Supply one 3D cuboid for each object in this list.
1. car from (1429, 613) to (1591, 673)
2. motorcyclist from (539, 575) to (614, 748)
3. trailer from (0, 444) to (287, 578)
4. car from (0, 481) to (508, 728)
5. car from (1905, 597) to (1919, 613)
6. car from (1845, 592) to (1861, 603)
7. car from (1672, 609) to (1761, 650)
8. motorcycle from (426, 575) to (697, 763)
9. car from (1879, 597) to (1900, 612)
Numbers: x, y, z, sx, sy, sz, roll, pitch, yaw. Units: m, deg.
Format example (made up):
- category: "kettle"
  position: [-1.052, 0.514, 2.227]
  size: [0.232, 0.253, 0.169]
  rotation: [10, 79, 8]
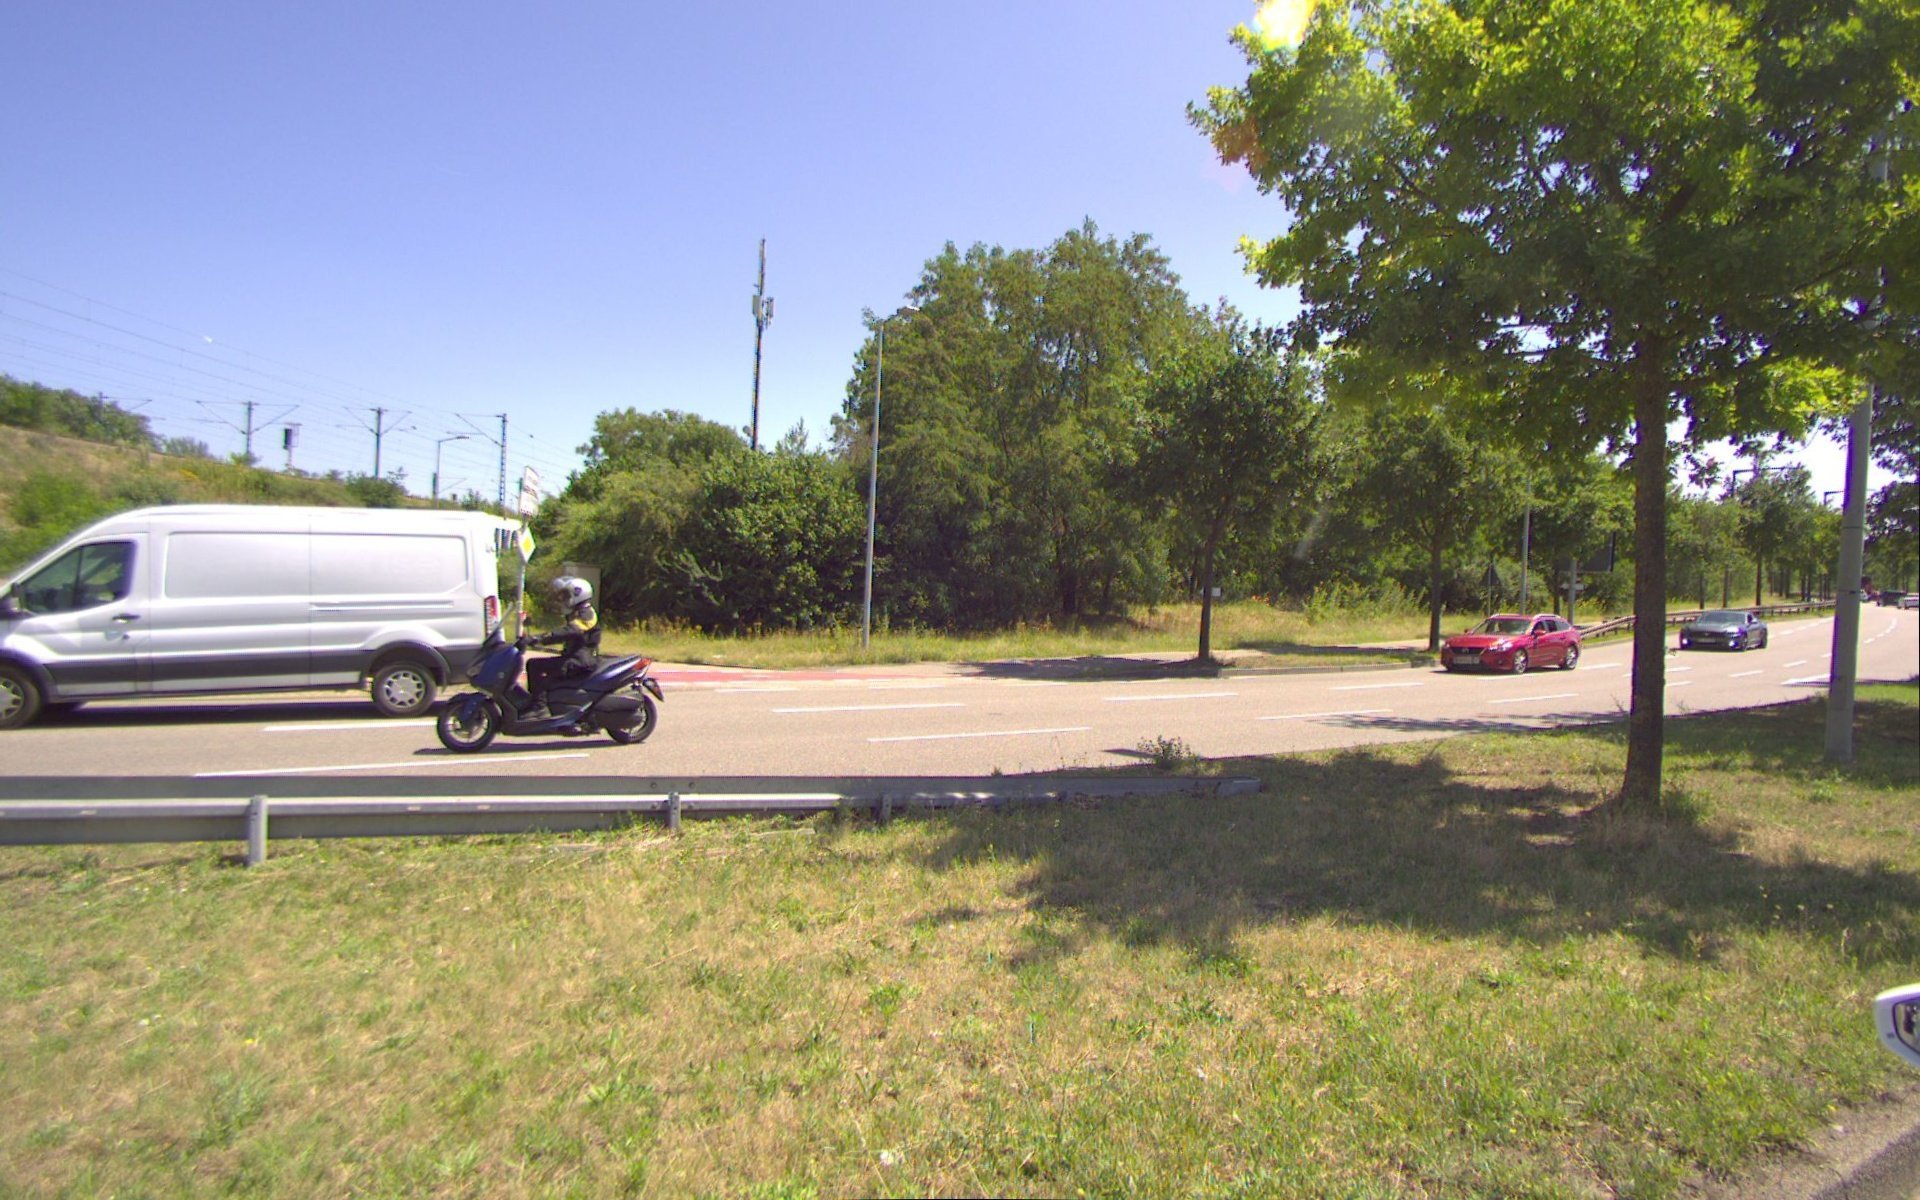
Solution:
- category: "car"
  position: [14.358, 1.116, 26.161]
  size: [4.477, 1.456, 1.820]
  rotation: [2, -2, -33]
- category: "motorcyclist"
  position: [-3.817, 0.593, 9.997]
  size: [0.556, 1.648, 0.584]
  rotation: [2, 0, -32]
- category: "trailer"
  position: [-31.730, -3.027, 38.770]
  size: [2.962, 4.104, 12.704]
  rotation: [0, 0, 0]
- category: "car"
  position: [-8.668, 0.046, 12.143]
  size: [5.736, 2.534, 2.086]
  rotation: [0, 0, -28]
- category: "car"
  position: [83.044, 0.427, 87.129]
  size: [1.440, 1.331, 3.618]
  rotation: [2, 0, 42]
- category: "car"
  position: [103.729, -0.262, 116.711]
  size: [1.306, 1.154, 2.980]
  rotation: [2, 0, 41]
- category: "car"
  position: [27.462, 1.083, 36.396]
  size: [4.537, 1.351, 1.792]
  rotation: [2, 0, -43]
- category: "motorcycle"
  position: [-3.896, 0.657, 9.948]
  size: [2.397, 1.700, 0.594]
  rotation: [2, 0, -31]
- category: "car"
  position: [90.067, 0.403, 97.340]
  size: [1.402, 1.331, 3.319]
  rotation: [2, 0, 42]
